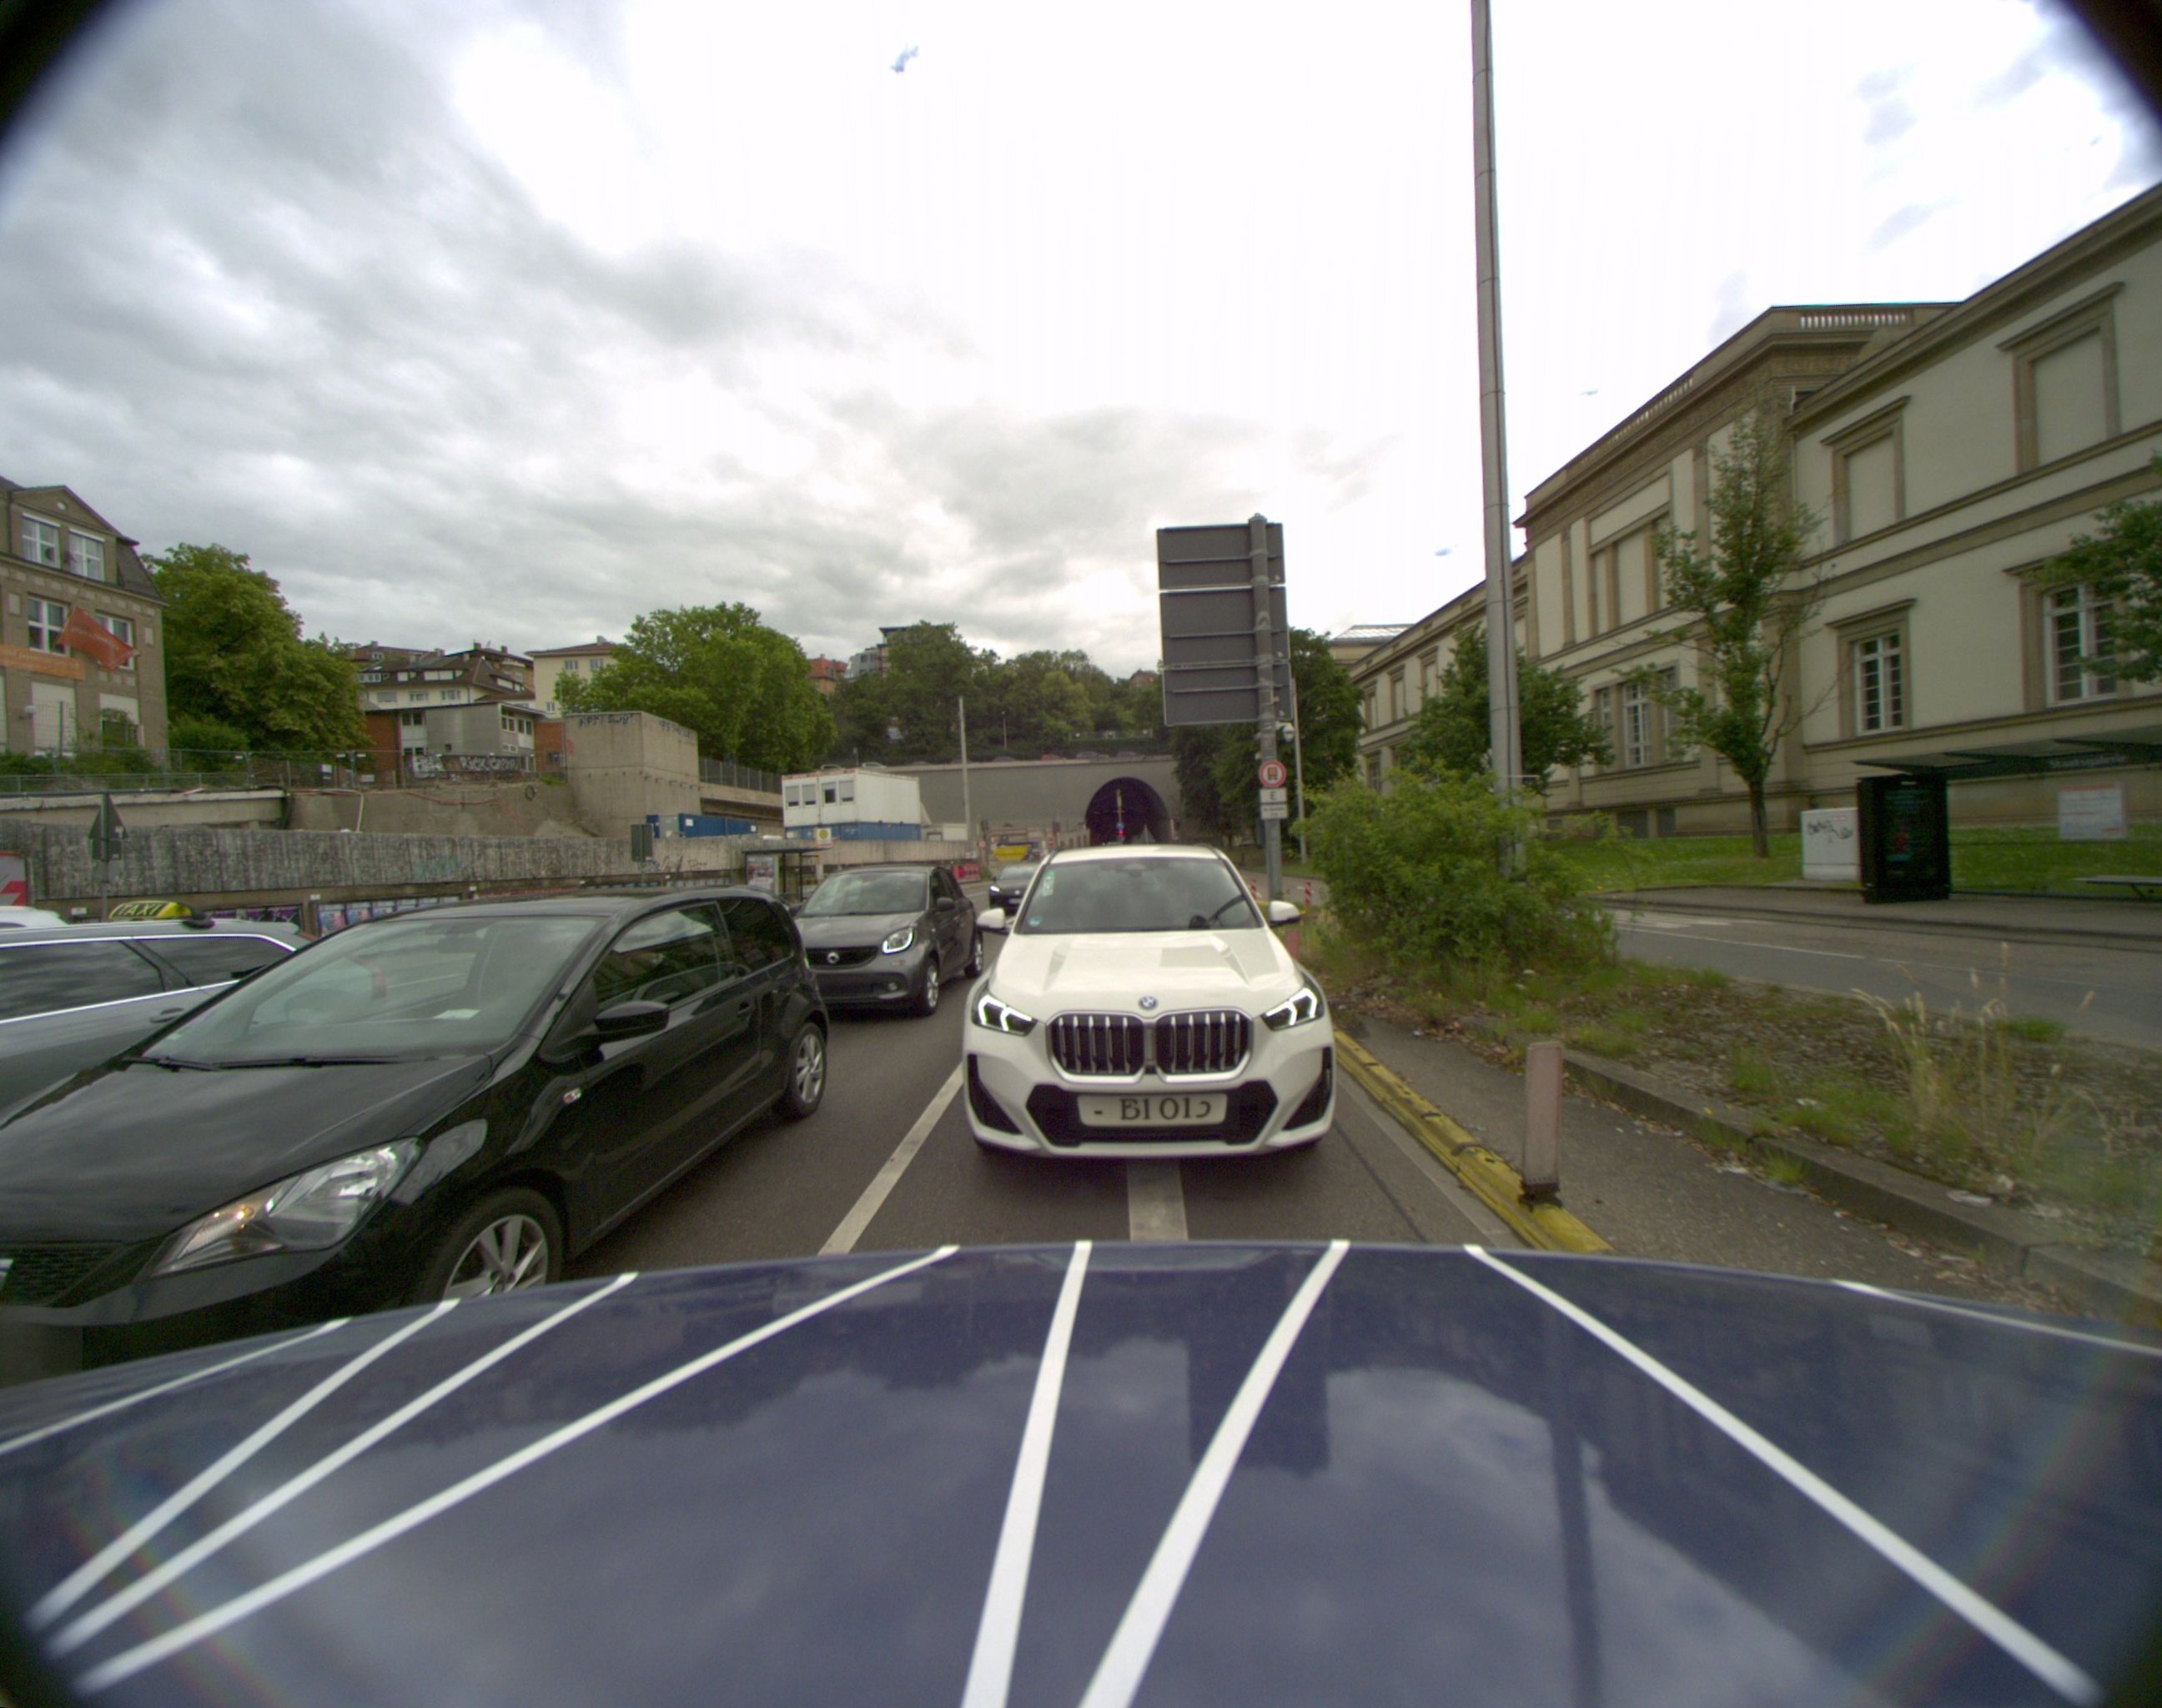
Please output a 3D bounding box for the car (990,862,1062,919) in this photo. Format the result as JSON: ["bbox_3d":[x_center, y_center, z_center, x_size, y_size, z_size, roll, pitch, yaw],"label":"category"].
[{"bbox_3d":[-1.598,1.044,23.289,1.680,1.450,3.807,-2,1,3],"label":"car"}]

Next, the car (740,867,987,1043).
[{"bbox_3d":[-2.260,0.980,8.904,1.720,1.535,3.575,-2,0,2],"label":"car"}]

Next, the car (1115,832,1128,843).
[{"bbox_3d":[6.645,-2.687,124.893,1.903,1.615,4.107,-2,0,0],"label":"car"}]

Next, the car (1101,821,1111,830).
[{"bbox_3d":[5.274,-5.932,159.055,1.778,1.609,3.802,-2,1,-1],"label":"car"}]

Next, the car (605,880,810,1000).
[{"bbox_3d":[-5.464,1.195,11.477,1.665,1.423,2.714,-2,1,1],"label":"car"}]

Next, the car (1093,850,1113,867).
[{"bbox_3d":[1.932,0.385,68.597,1.680,1.358,3.806,-2,1,1],"label":"car"}]

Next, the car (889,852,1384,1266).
[{"bbox_3d":[0.256,0.849,4.971,1.987,1.615,3.670,-2,1,1],"label":"car"}]

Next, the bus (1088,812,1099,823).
[{"bbox_3d":[3.835,-11.278,236.258,3.171,3.129,9.118,-2,1,-1],"label":"bus"}]

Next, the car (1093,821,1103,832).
[{"bbox_3d":[4.178,-6.622,181.878,2.203,2.493,4.758,-2,1,2],"label":"car"}]

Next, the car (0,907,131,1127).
[{"bbox_3d":[-9.112,1.320,4.457,1.680,1.615,4.209,-2,1,1],"label":"car"}]

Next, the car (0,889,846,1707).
[{"bbox_3d":[-2.577,1.019,3.355,1.829,1.450,3.700,-2,1,1],"label":"car"}]

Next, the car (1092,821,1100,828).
[{"bbox_3d":[4.079,-8.262,210.269,1.946,1.714,4.000,-2,1,4],"label":"car"}]

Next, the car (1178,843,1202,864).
[{"bbox_3d":[9.347,-0.088,65.497,1.836,1.736,4.001,-2,1,5],"label":"car"}]

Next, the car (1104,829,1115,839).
[{"bbox_3d":[5.217,-3.657,140.084,1.903,1.615,4.107,-2,0,0],"label":"car"}]

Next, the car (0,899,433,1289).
[{"bbox_3d":[-5.862,1.208,3.315,1.829,1.615,4.808,-2,1,1],"label":"car"}]

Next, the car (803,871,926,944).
[{"bbox_3d":[-4.925,1.165,17.825,1.680,1.358,3.806,-2,1,1],"label":"car"}]

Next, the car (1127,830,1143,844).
[{"bbox_3d":[7.181,-2.251,101.278,1.902,1.615,4.109,-2,0,6],"label":"car"}]

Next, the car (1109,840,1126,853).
[{"bbox_3d":[4.097,-0.842,85.010,1.680,1.358,3.806,-2,1,1],"label":"car"}]
